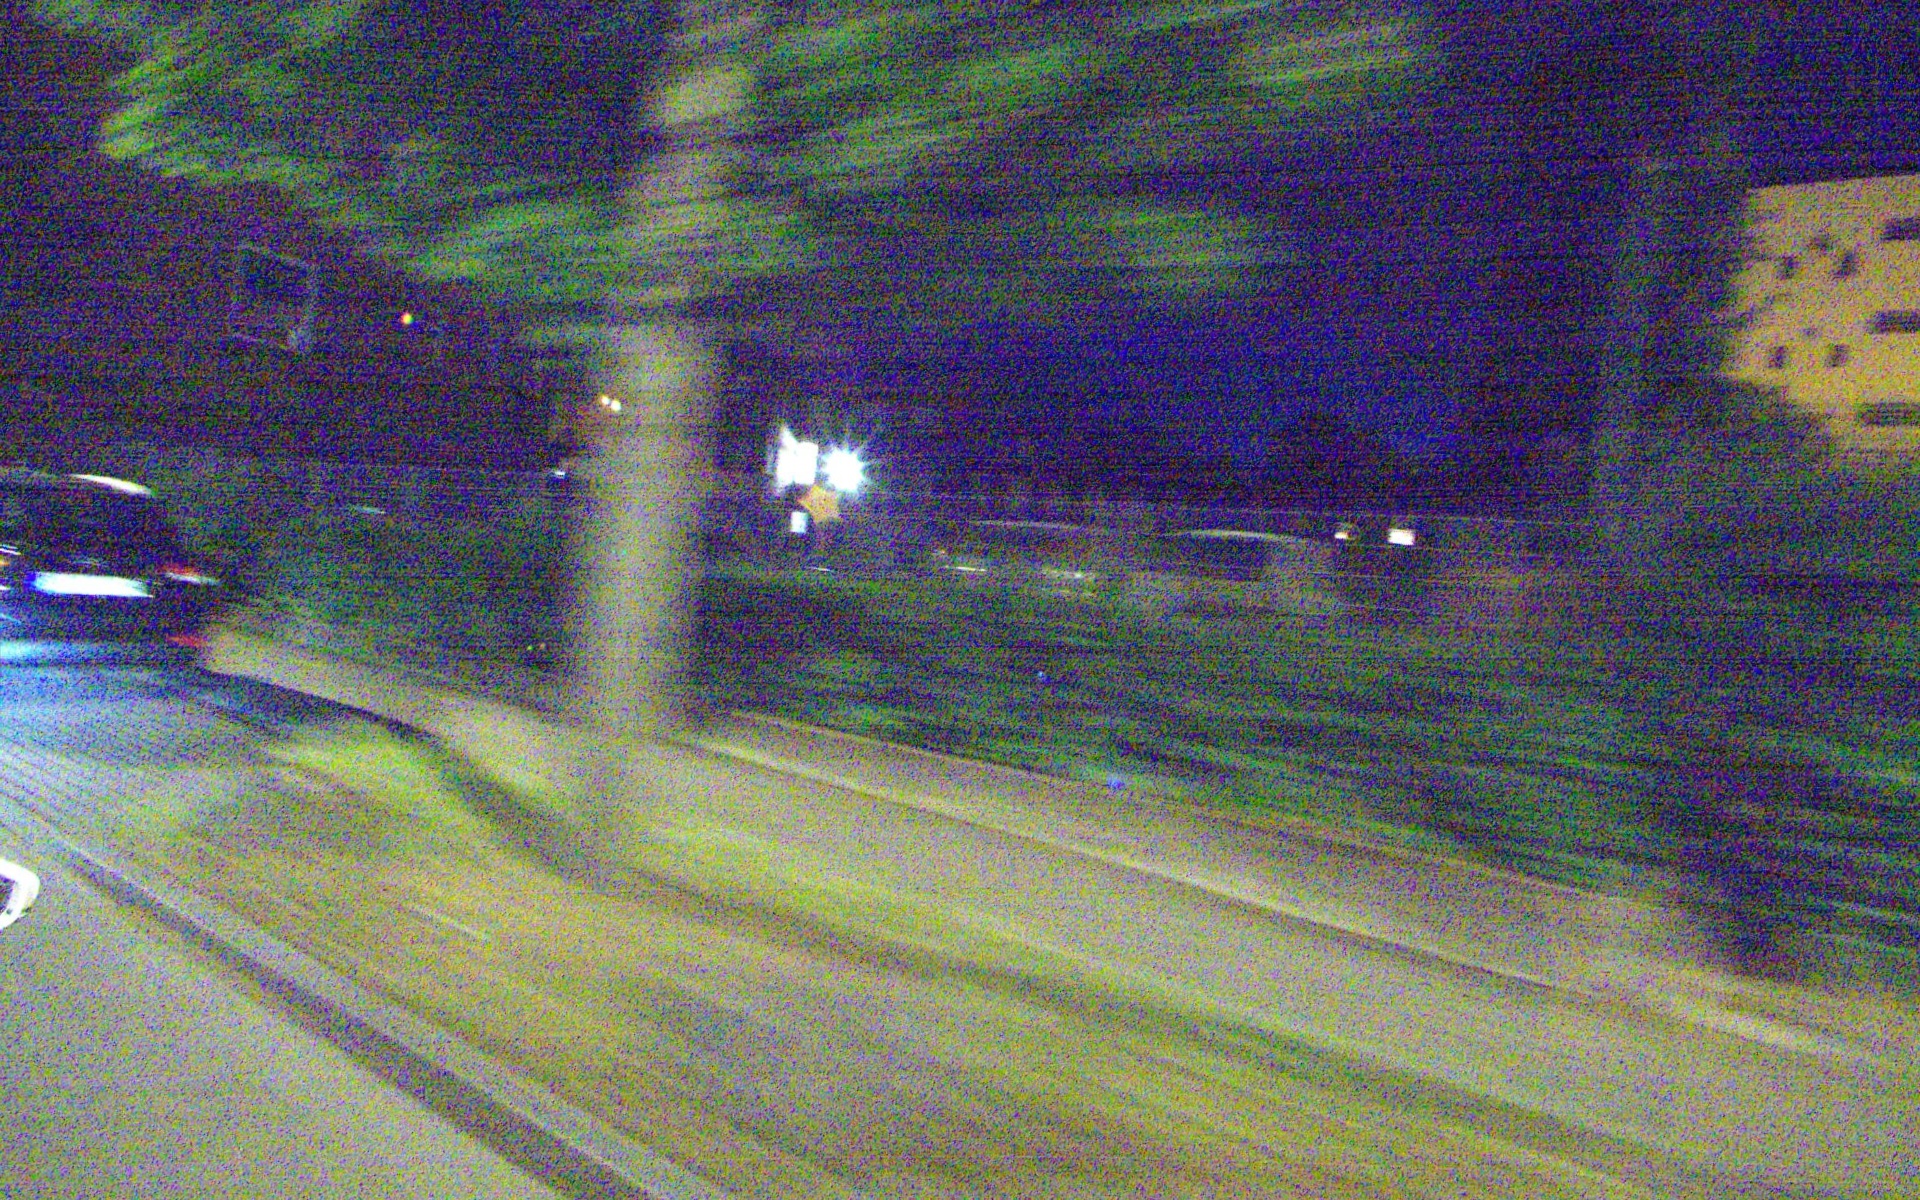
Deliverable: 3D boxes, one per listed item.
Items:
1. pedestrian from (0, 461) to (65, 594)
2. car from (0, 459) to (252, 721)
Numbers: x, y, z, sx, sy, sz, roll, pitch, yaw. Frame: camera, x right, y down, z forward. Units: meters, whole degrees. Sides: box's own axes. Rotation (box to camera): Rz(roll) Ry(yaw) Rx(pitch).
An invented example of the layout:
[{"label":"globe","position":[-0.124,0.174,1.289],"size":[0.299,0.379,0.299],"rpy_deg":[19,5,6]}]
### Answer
[{"label":"pedestrian","position":[-12.995,-1.003,13.861],"size":[0.808,1.744,0.705],"rpy_deg":[7,2,32]},{"label":"car","position":[-7.640,-0.251,7.899],"size":[4.139,1.675,1.854],"rpy_deg":[7,2,31]}]
